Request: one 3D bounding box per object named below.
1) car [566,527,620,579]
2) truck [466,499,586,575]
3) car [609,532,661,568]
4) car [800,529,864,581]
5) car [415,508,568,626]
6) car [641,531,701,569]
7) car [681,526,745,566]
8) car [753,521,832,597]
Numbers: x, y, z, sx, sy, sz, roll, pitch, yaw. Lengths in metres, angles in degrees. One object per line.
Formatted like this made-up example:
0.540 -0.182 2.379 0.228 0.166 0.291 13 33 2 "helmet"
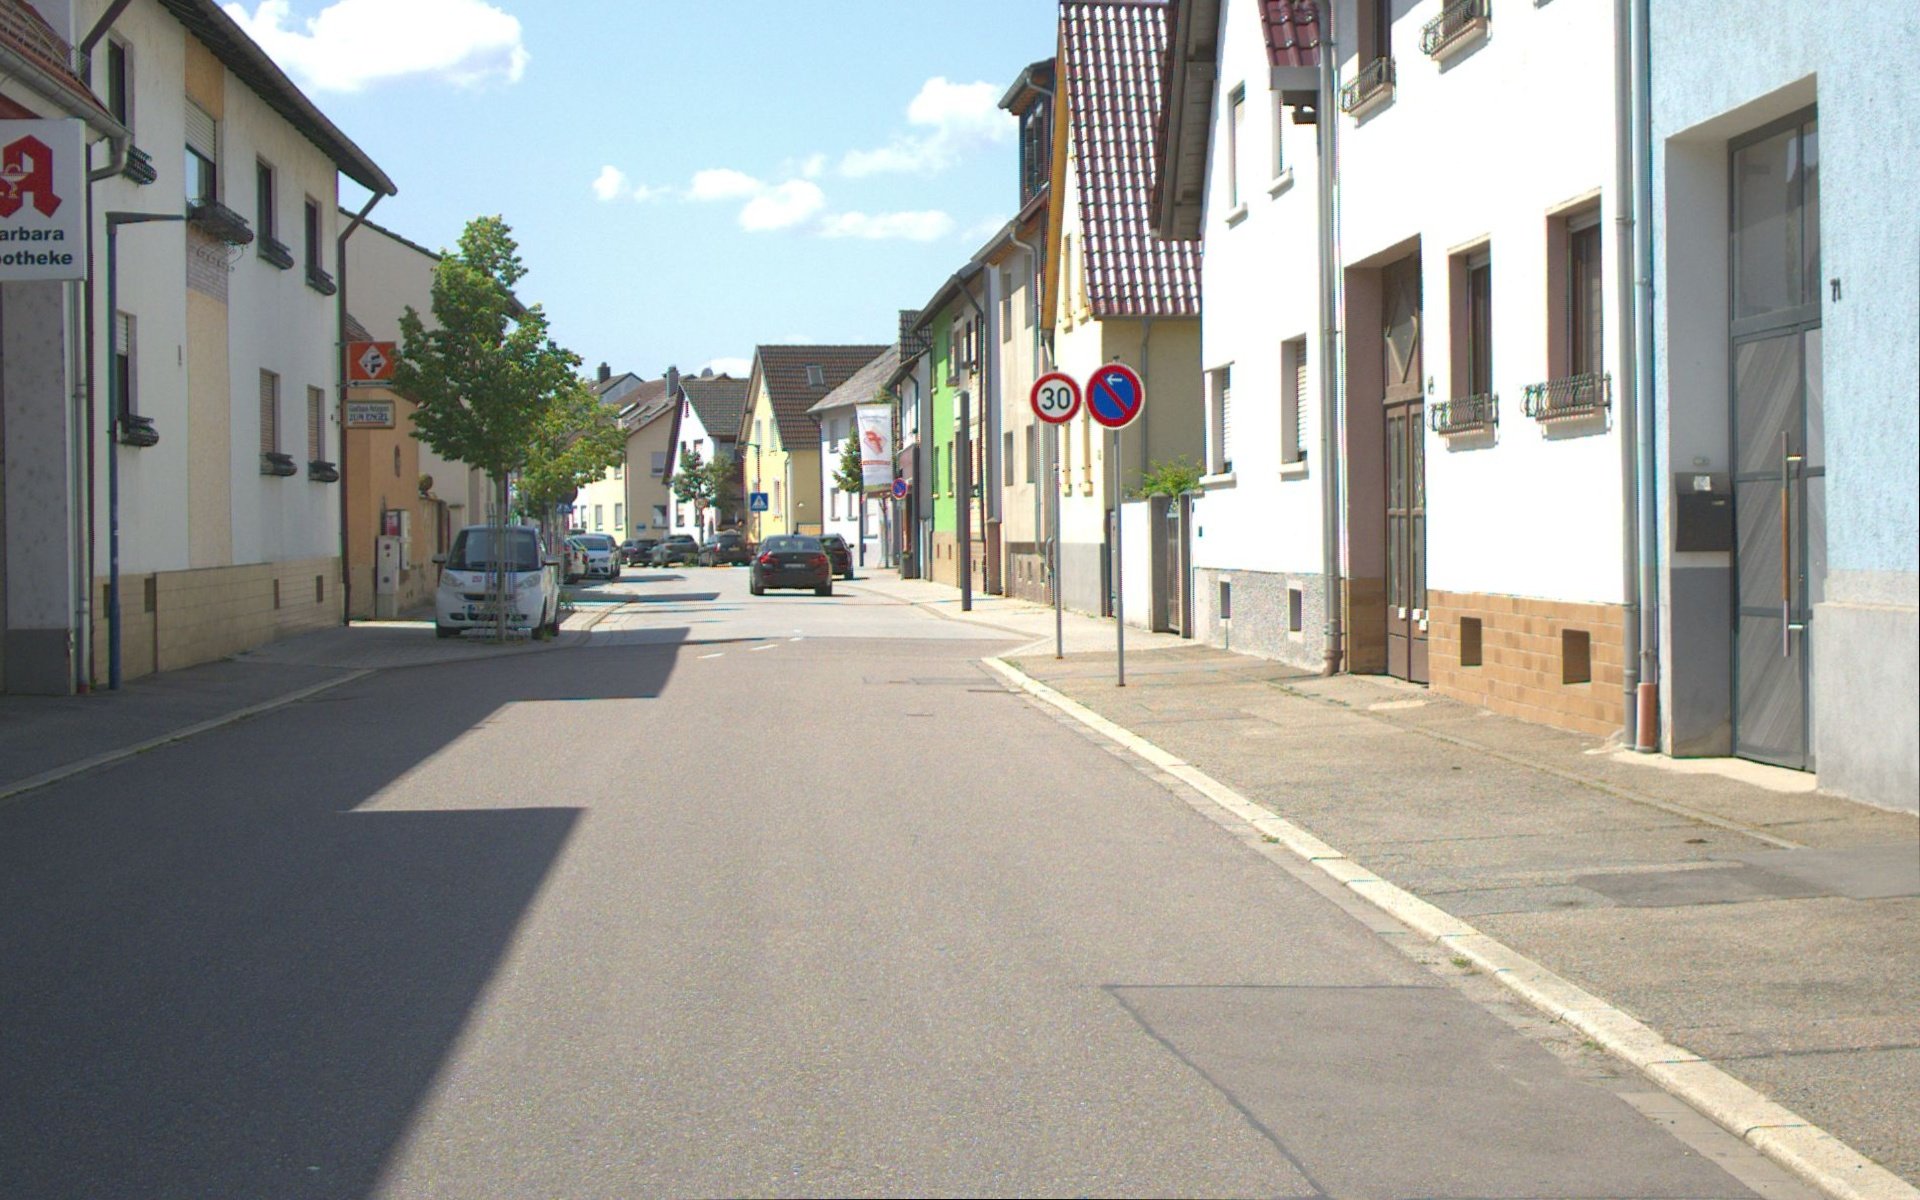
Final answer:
-12.509 -1.597 116.965 1.734 1.681 4.233 1 1 -7 "car"
-23.181 -3.296 182.800 3.378 3.852 13.930 -1 1 -19 "truck"
-16.272 -2.510 171.905 1.820 1.747 4.230 -1 1 -16 "car"
-4.052 -1.420 108.343 1.782 1.558 4.338 -1 1 -5 "car"
-6.518 -0.481 48.149 1.723 1.550 4.173 1 1 -3 "car"
-13.842 -2.370 164.532 1.820 1.747 4.230 -1 1 -19 "car"
-11.136 -2.414 154.969 1.782 1.747 4.230 -1 1 -20 "car"
-4.050 -0.983 82.693 1.782 1.747 4.001 -1 1 -4 "car"
